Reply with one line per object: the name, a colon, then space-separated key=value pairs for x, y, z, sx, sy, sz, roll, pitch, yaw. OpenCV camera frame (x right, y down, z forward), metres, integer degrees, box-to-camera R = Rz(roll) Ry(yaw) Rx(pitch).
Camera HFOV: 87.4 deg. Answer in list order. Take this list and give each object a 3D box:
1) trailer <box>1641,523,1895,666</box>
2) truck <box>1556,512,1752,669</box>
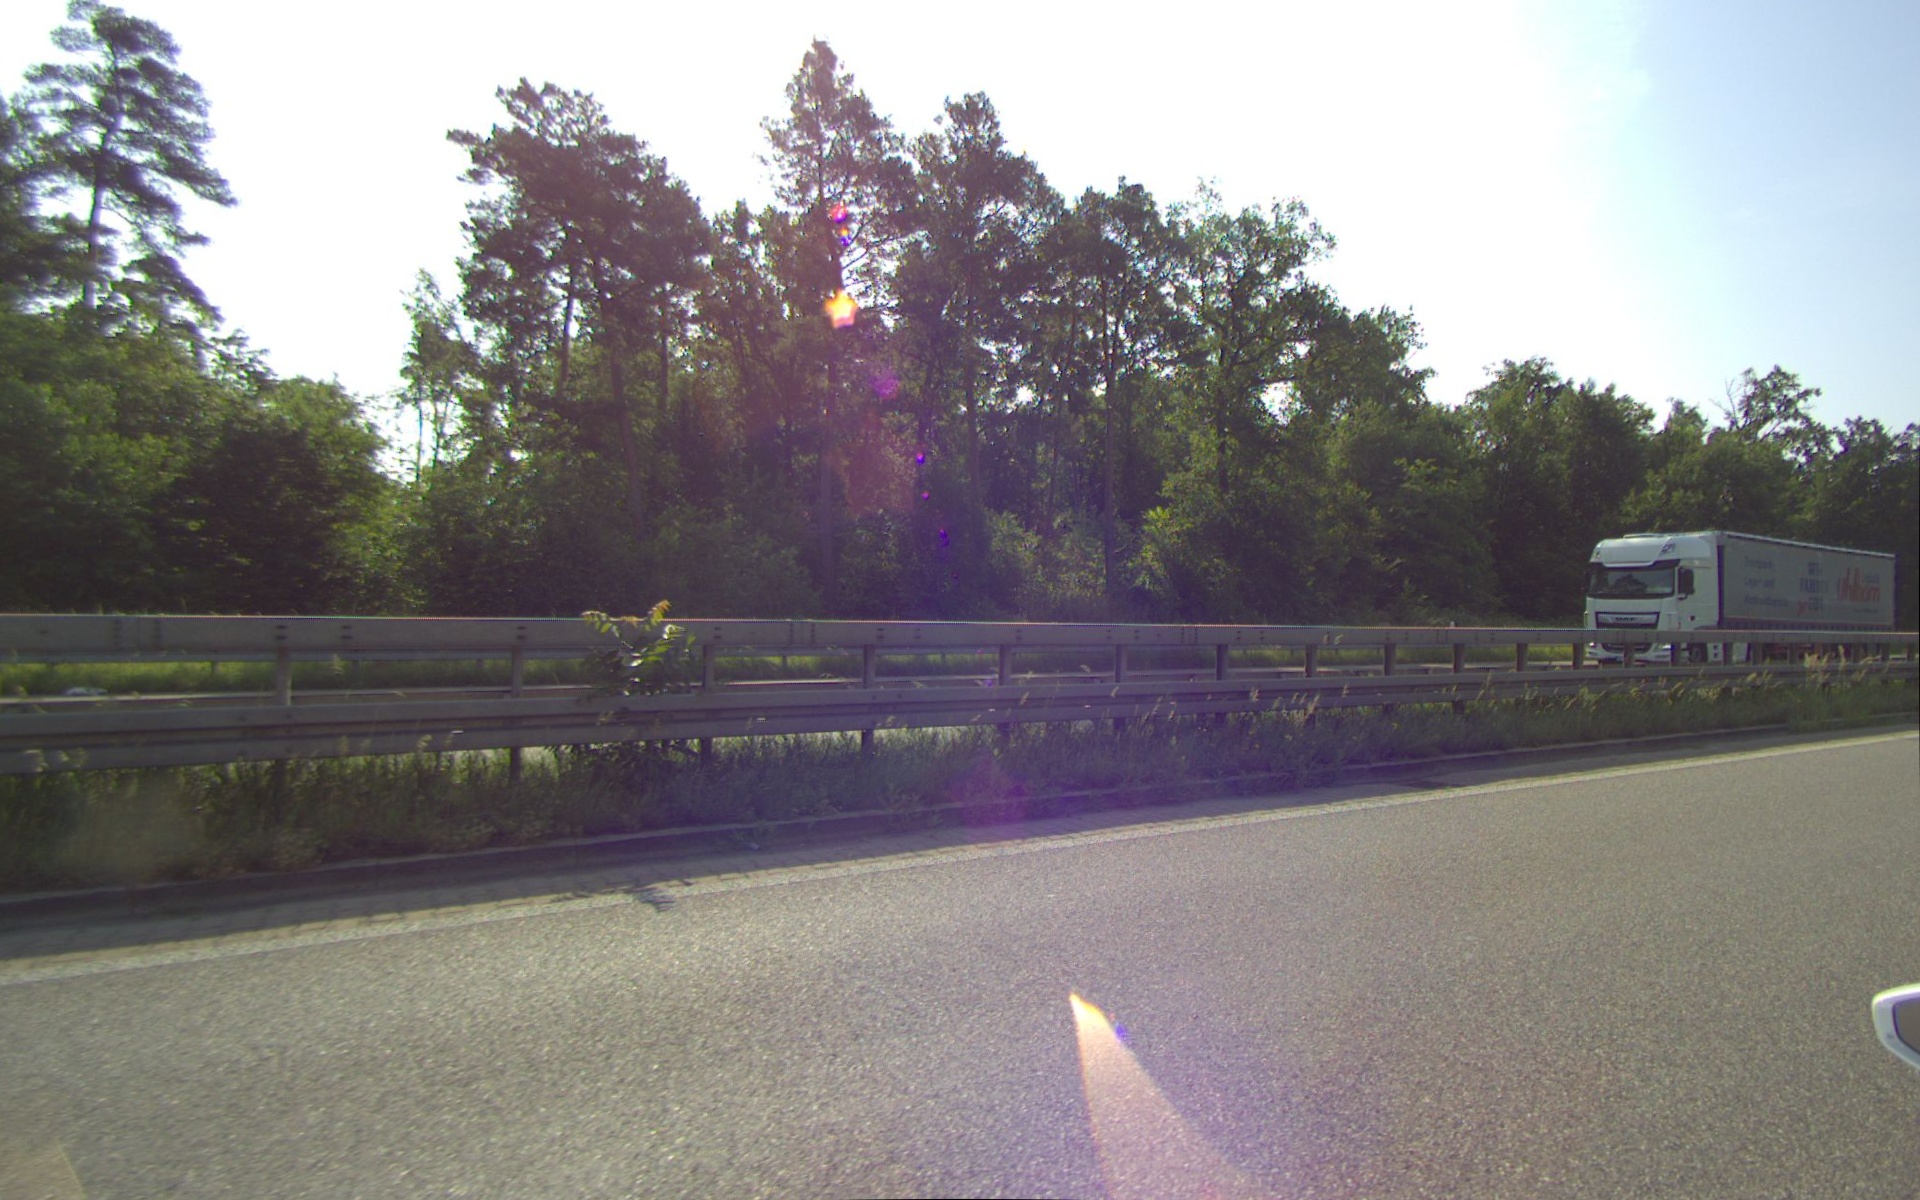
trailer: x=27.807 y=-0.035 z=34.264 sx=12.271 sy=4.264 sz=2.818 roll=1 pitch=-1 yaw=-32
truck: x=20.563 y=-0.191 z=29.724 sx=5.483 sy=4.251 sz=2.823 roll=1 pitch=-1 yaw=-31
